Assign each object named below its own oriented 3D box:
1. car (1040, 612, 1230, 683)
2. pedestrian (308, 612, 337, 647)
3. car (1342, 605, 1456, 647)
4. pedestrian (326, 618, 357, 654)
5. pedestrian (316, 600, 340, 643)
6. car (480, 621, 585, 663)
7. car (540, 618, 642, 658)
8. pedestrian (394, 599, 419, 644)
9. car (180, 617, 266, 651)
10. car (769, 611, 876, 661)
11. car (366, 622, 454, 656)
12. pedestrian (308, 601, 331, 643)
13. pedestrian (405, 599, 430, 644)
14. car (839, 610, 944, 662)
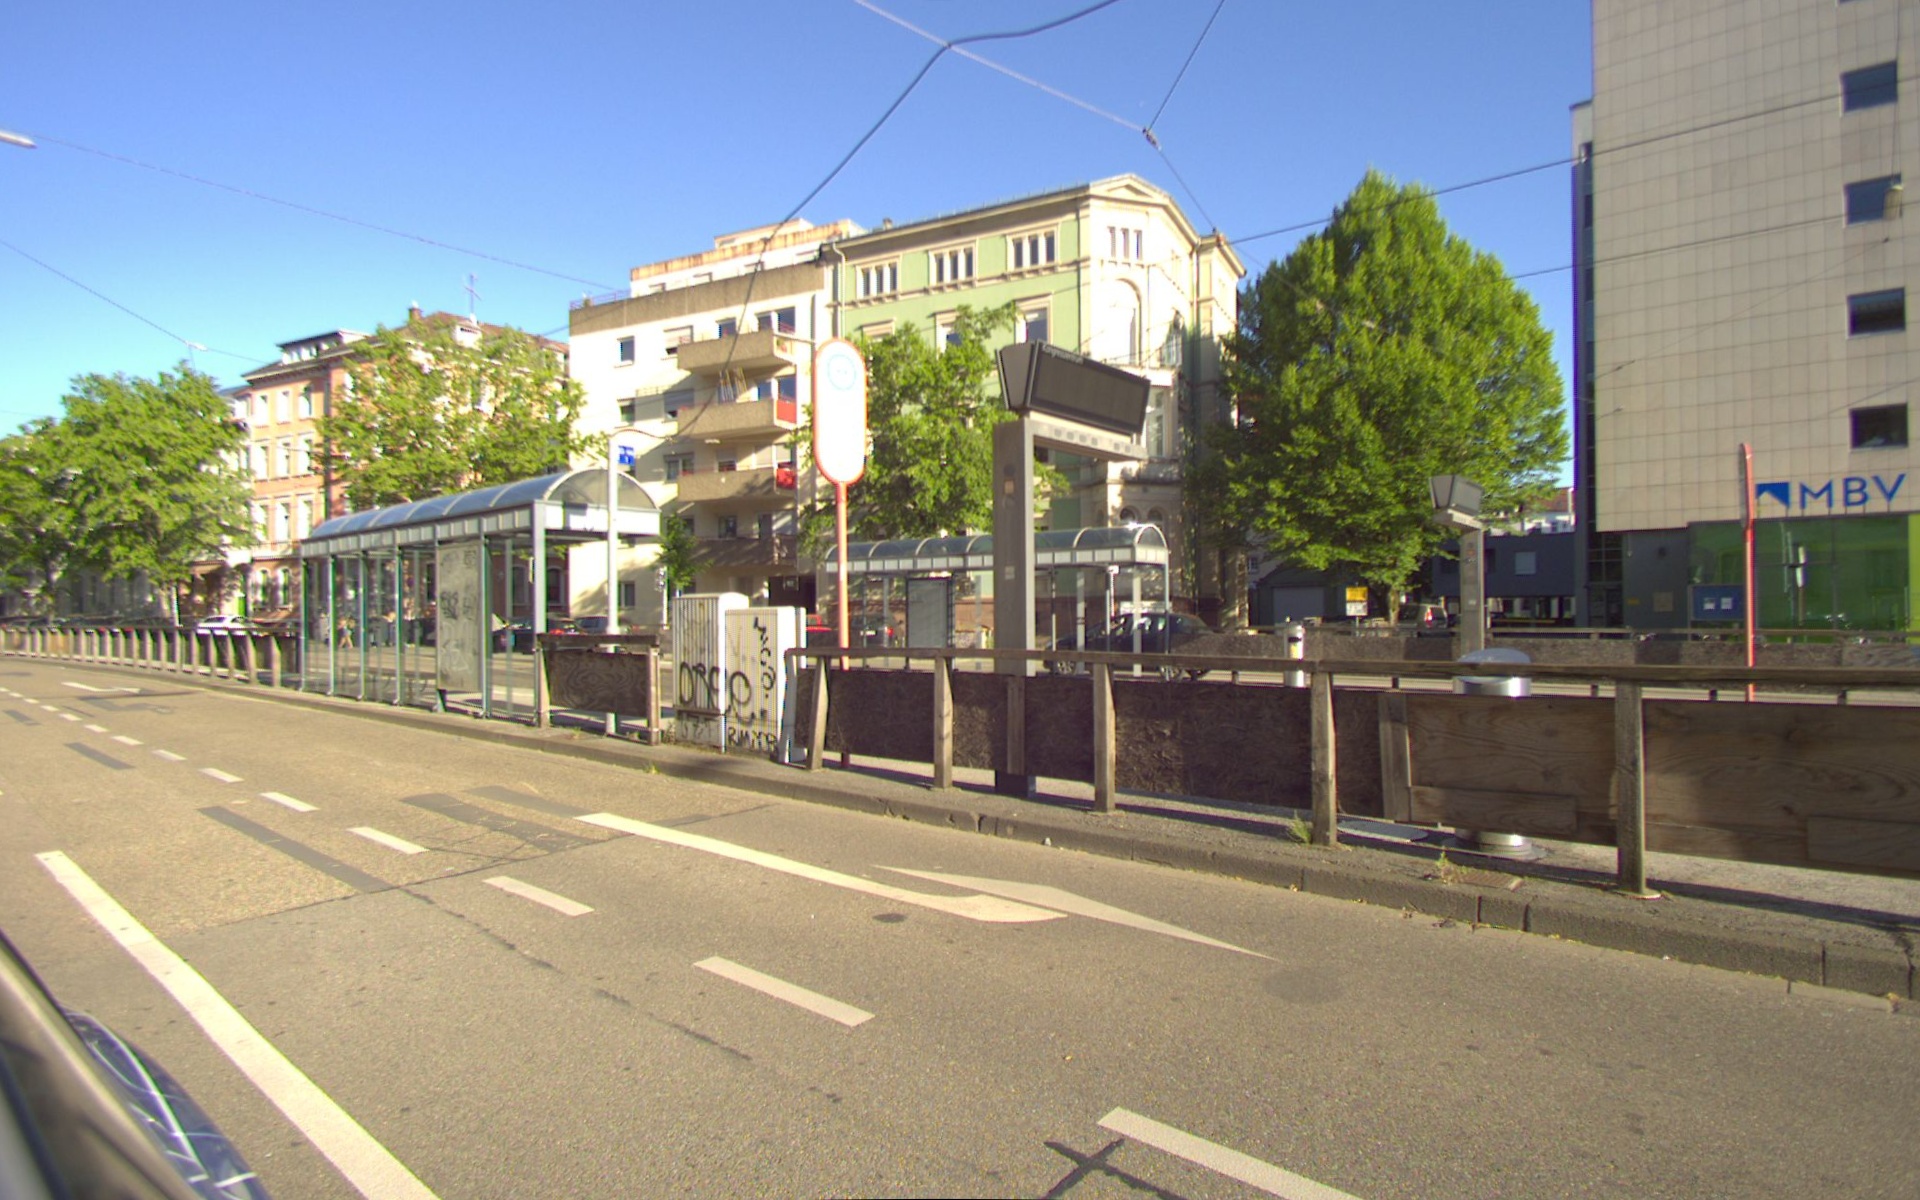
[{"bbox_3d":[3.959,1.053,23.198,3.990,1.500,1.629,-1,-2,35],"label":"car"},{"bbox_3d":[-31.875,1.468,50.608,1.016,1.733,0.846,-1,-2,32],"label":"pedestrian"},{"bbox_3d":[15.780,0.895,36.469,1.544,1.423,3.430,-1,0,-38],"label":"car"},{"bbox_3d":[-28.249,1.631,46.229,0.879,1.641,0.869,0,-1,-1],"label":"pedestrian"},{"bbox_3d":[-33.059,1.145,52.944,0.753,2.224,0.804,-1,-2,30],"label":"pedestrian"},{"bbox_3d":[-15.185,1.462,35.916,3.870,1.419,1.650,-1,-2,35],"label":"car"},{"bbox_3d":[-14.071,1.420,38.546,3.725,1.438,1.637,-1,-1,29],"label":"car"},{"bbox_3d":[-27.803,1.077,50.831,0.753,2.224,0.804,-1,-2,30],"label":"pedestrian"},{"bbox_3d":[-39.469,1.811,54.318,1.825,1.721,4.130,0,-1,-5],"label":"car"},{"bbox_3d":[-4.641,1.193,34.647,1.754,1.594,3.965,-1,-1,26],"label":"car"},{"bbox_3d":[-23.769,1.647,43.704,3.986,1.407,1.592,-1,-2,32],"label":"car"},{"bbox_3d":[-34.183,1.159,53.973,0.755,2.224,0.803,-1,-2,36],"label":"pedestrian"},{"bbox_3d":[-27.005,1.066,50.368,0.753,2.224,0.804,-1,-2,30],"label":"pedestrian"},{"bbox_3d":[-2.208,1.161,33.599,1.754,1.594,3.965,-1,-1,26],"label":"car"}]
